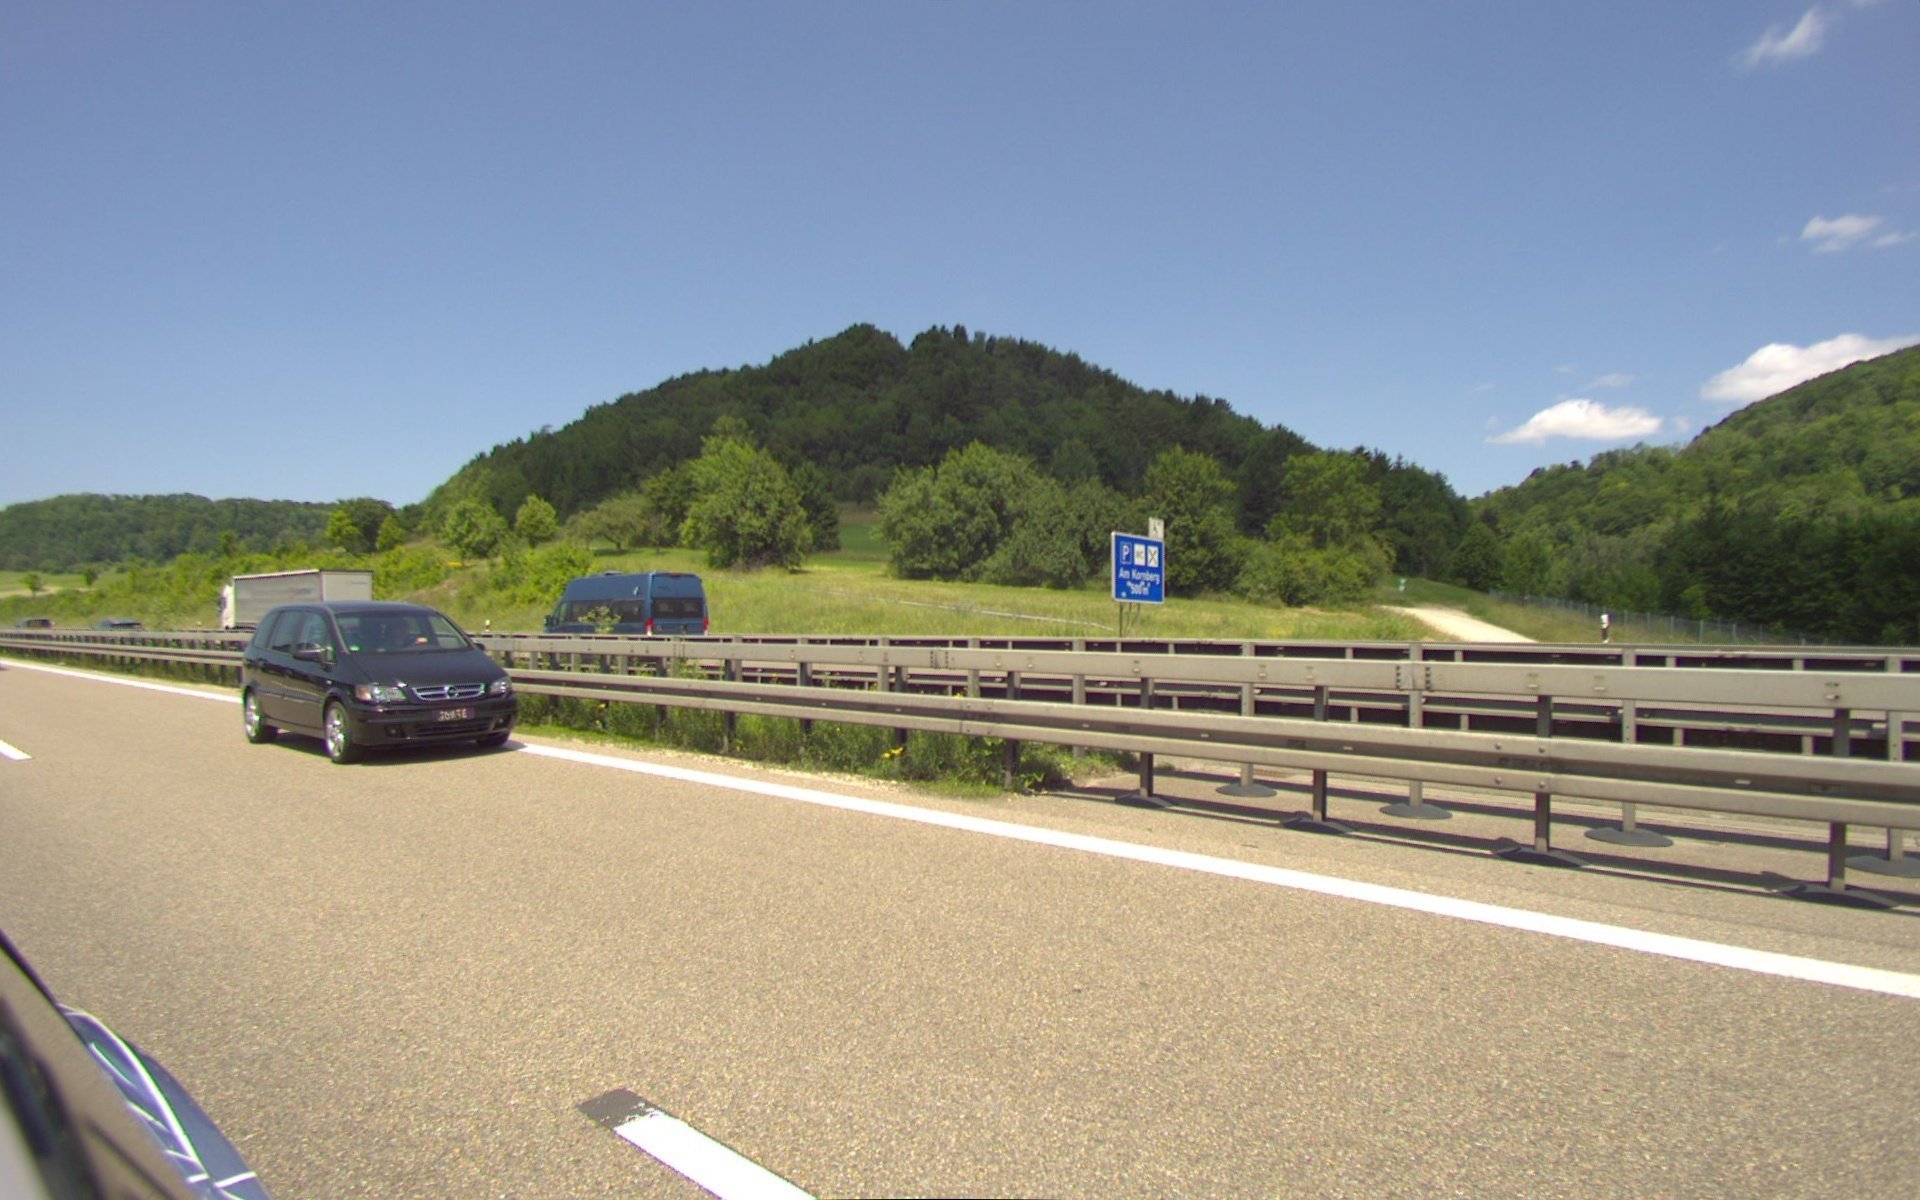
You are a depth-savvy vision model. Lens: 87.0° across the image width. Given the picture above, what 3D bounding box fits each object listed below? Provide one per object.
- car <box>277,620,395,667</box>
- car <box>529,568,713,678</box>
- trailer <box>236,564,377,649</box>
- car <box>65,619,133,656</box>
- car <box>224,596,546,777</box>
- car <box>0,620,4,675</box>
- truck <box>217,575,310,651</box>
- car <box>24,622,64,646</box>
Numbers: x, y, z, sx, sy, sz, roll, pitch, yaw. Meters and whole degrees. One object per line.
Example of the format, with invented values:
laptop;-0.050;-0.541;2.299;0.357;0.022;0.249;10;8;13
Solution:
car;-20.478;1.393;33.119;4.718;1.397;1.973;-1;-1;41
car;-10.025;0.630;29.576;6.396;2.884;2.133;-1;0;41
trailer;-36.526;0.380;56.180;13.606;4.222;2.825;-1;0;41
car;-42.959;1.858;50.479;4.278;1.722;1.828;-1;-1;39
car;-6.573;0.834;11.356;4.443;1.647;1.782;-1;-1;41
car;-30.678;1.456;30.721;3.997;1.634;1.973;-1;-1;40
truck;-41.507;0.751;60.201;7.226;4.264;2.769;-1;0;41
car;-74.959;2.796;82.813;4.404;1.867;1.973;-1;0;41
